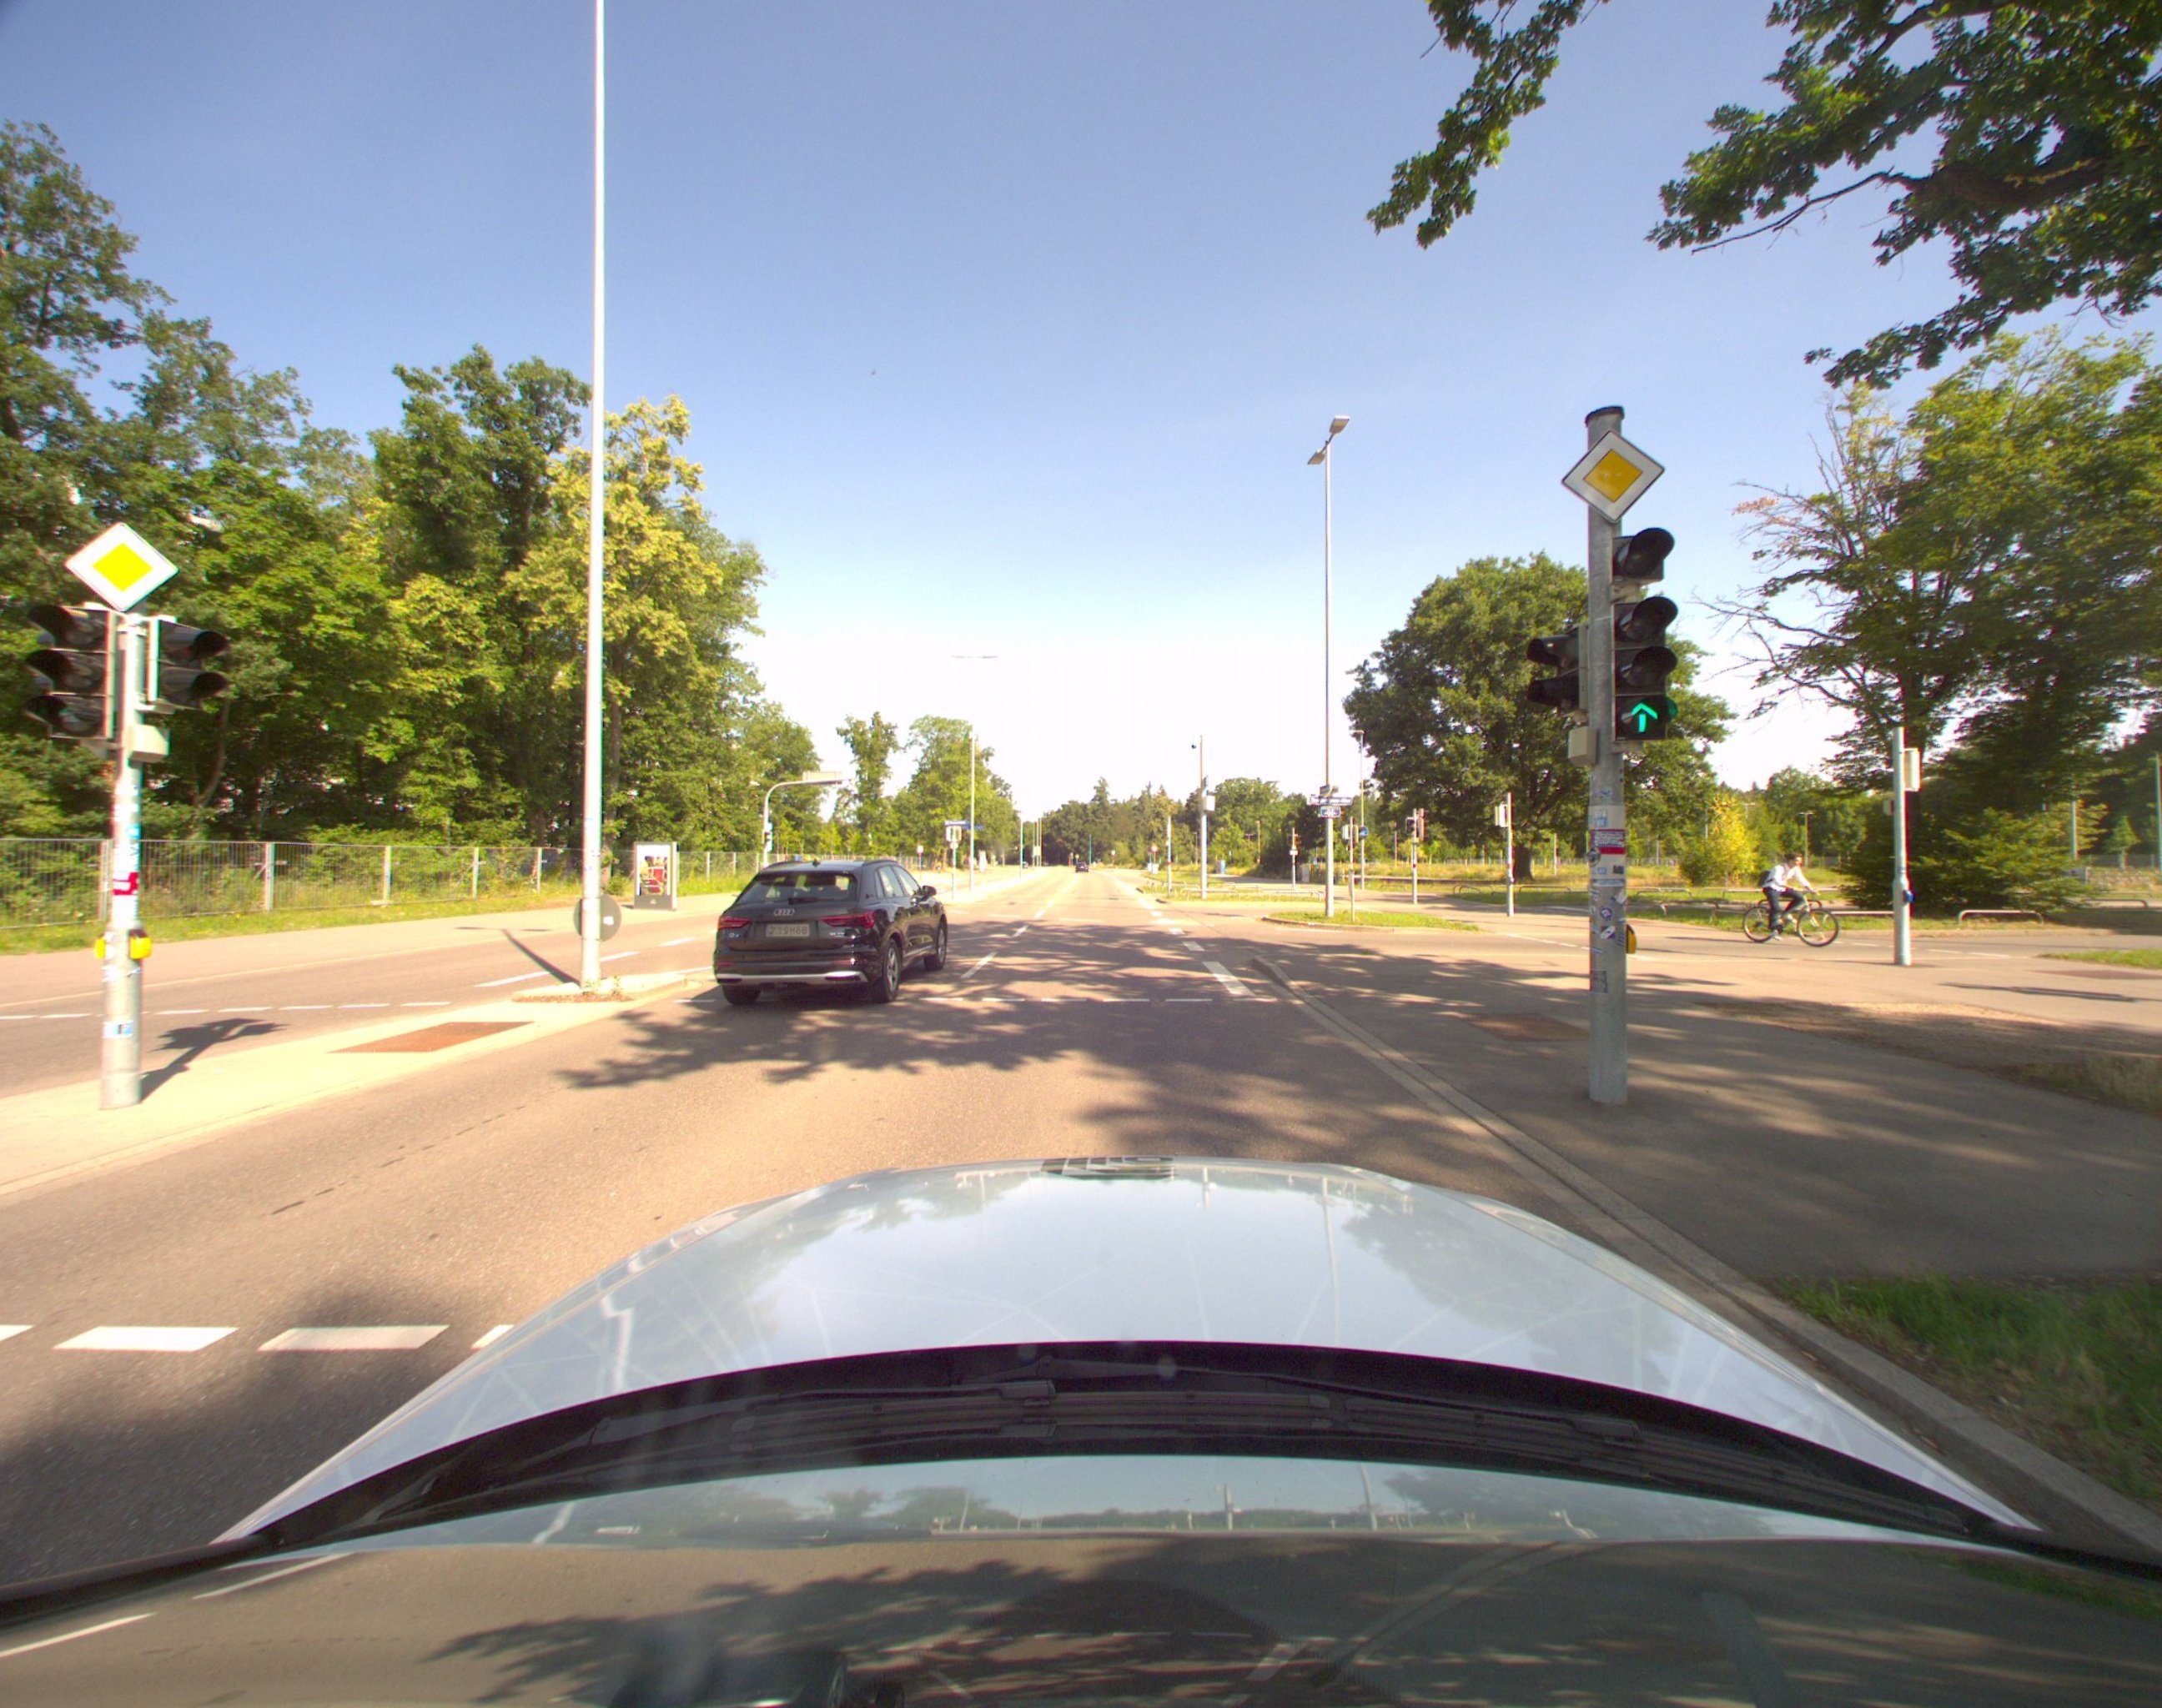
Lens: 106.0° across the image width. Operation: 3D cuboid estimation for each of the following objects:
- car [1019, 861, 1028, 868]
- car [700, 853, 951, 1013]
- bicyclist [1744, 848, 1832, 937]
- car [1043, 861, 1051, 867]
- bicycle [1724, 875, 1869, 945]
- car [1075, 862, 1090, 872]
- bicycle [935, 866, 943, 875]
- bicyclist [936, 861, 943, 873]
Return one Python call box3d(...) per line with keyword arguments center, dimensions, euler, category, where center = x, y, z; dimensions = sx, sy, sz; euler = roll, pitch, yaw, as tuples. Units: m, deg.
box3d(center=(-13.883, 2.529, 195.647), dimensions=(1.810, 1.388, 4.150), euler=(-2, -1, -8), category="car")
box3d(center=(-2.843, 0.789, 10.077), dimensions=(1.681, 1.544, 4.149), euler=(-1, 0, 1), category="car")
box3d(center=(13.570, 0.715, 15.657), dimensions=(0.724, 1.639, 1.054), euler=(0, -1, -10), category="bicyclist")
box3d(center=(-10.793, 3.184, 256.381), dimensions=(1.995, 1.750, 3.984), euler=(0, -1, -12), category="car")
box3d(center=(13.579, 1.031, 15.561), dimensions=(0.724, 1.199, 2.094), euler=(0, 0, -9), category="bicycle")
box3d(center=(0.151, 1.848, 114.984), dimensions=(1.936, 1.420, 4.289), euler=(0, 0, -2), category="car")
box3d(center=(-17.541, 2.018, 100.586), dimensions=(0.658, 1.136, 1.877), euler=(1, -1, -1), category="bicycle")
box3d(center=(-17.512, 1.580, 100.498), dimensions=(0.658, 1.467, 1.057), euler=(1, -1, -1), category="bicyclist")
